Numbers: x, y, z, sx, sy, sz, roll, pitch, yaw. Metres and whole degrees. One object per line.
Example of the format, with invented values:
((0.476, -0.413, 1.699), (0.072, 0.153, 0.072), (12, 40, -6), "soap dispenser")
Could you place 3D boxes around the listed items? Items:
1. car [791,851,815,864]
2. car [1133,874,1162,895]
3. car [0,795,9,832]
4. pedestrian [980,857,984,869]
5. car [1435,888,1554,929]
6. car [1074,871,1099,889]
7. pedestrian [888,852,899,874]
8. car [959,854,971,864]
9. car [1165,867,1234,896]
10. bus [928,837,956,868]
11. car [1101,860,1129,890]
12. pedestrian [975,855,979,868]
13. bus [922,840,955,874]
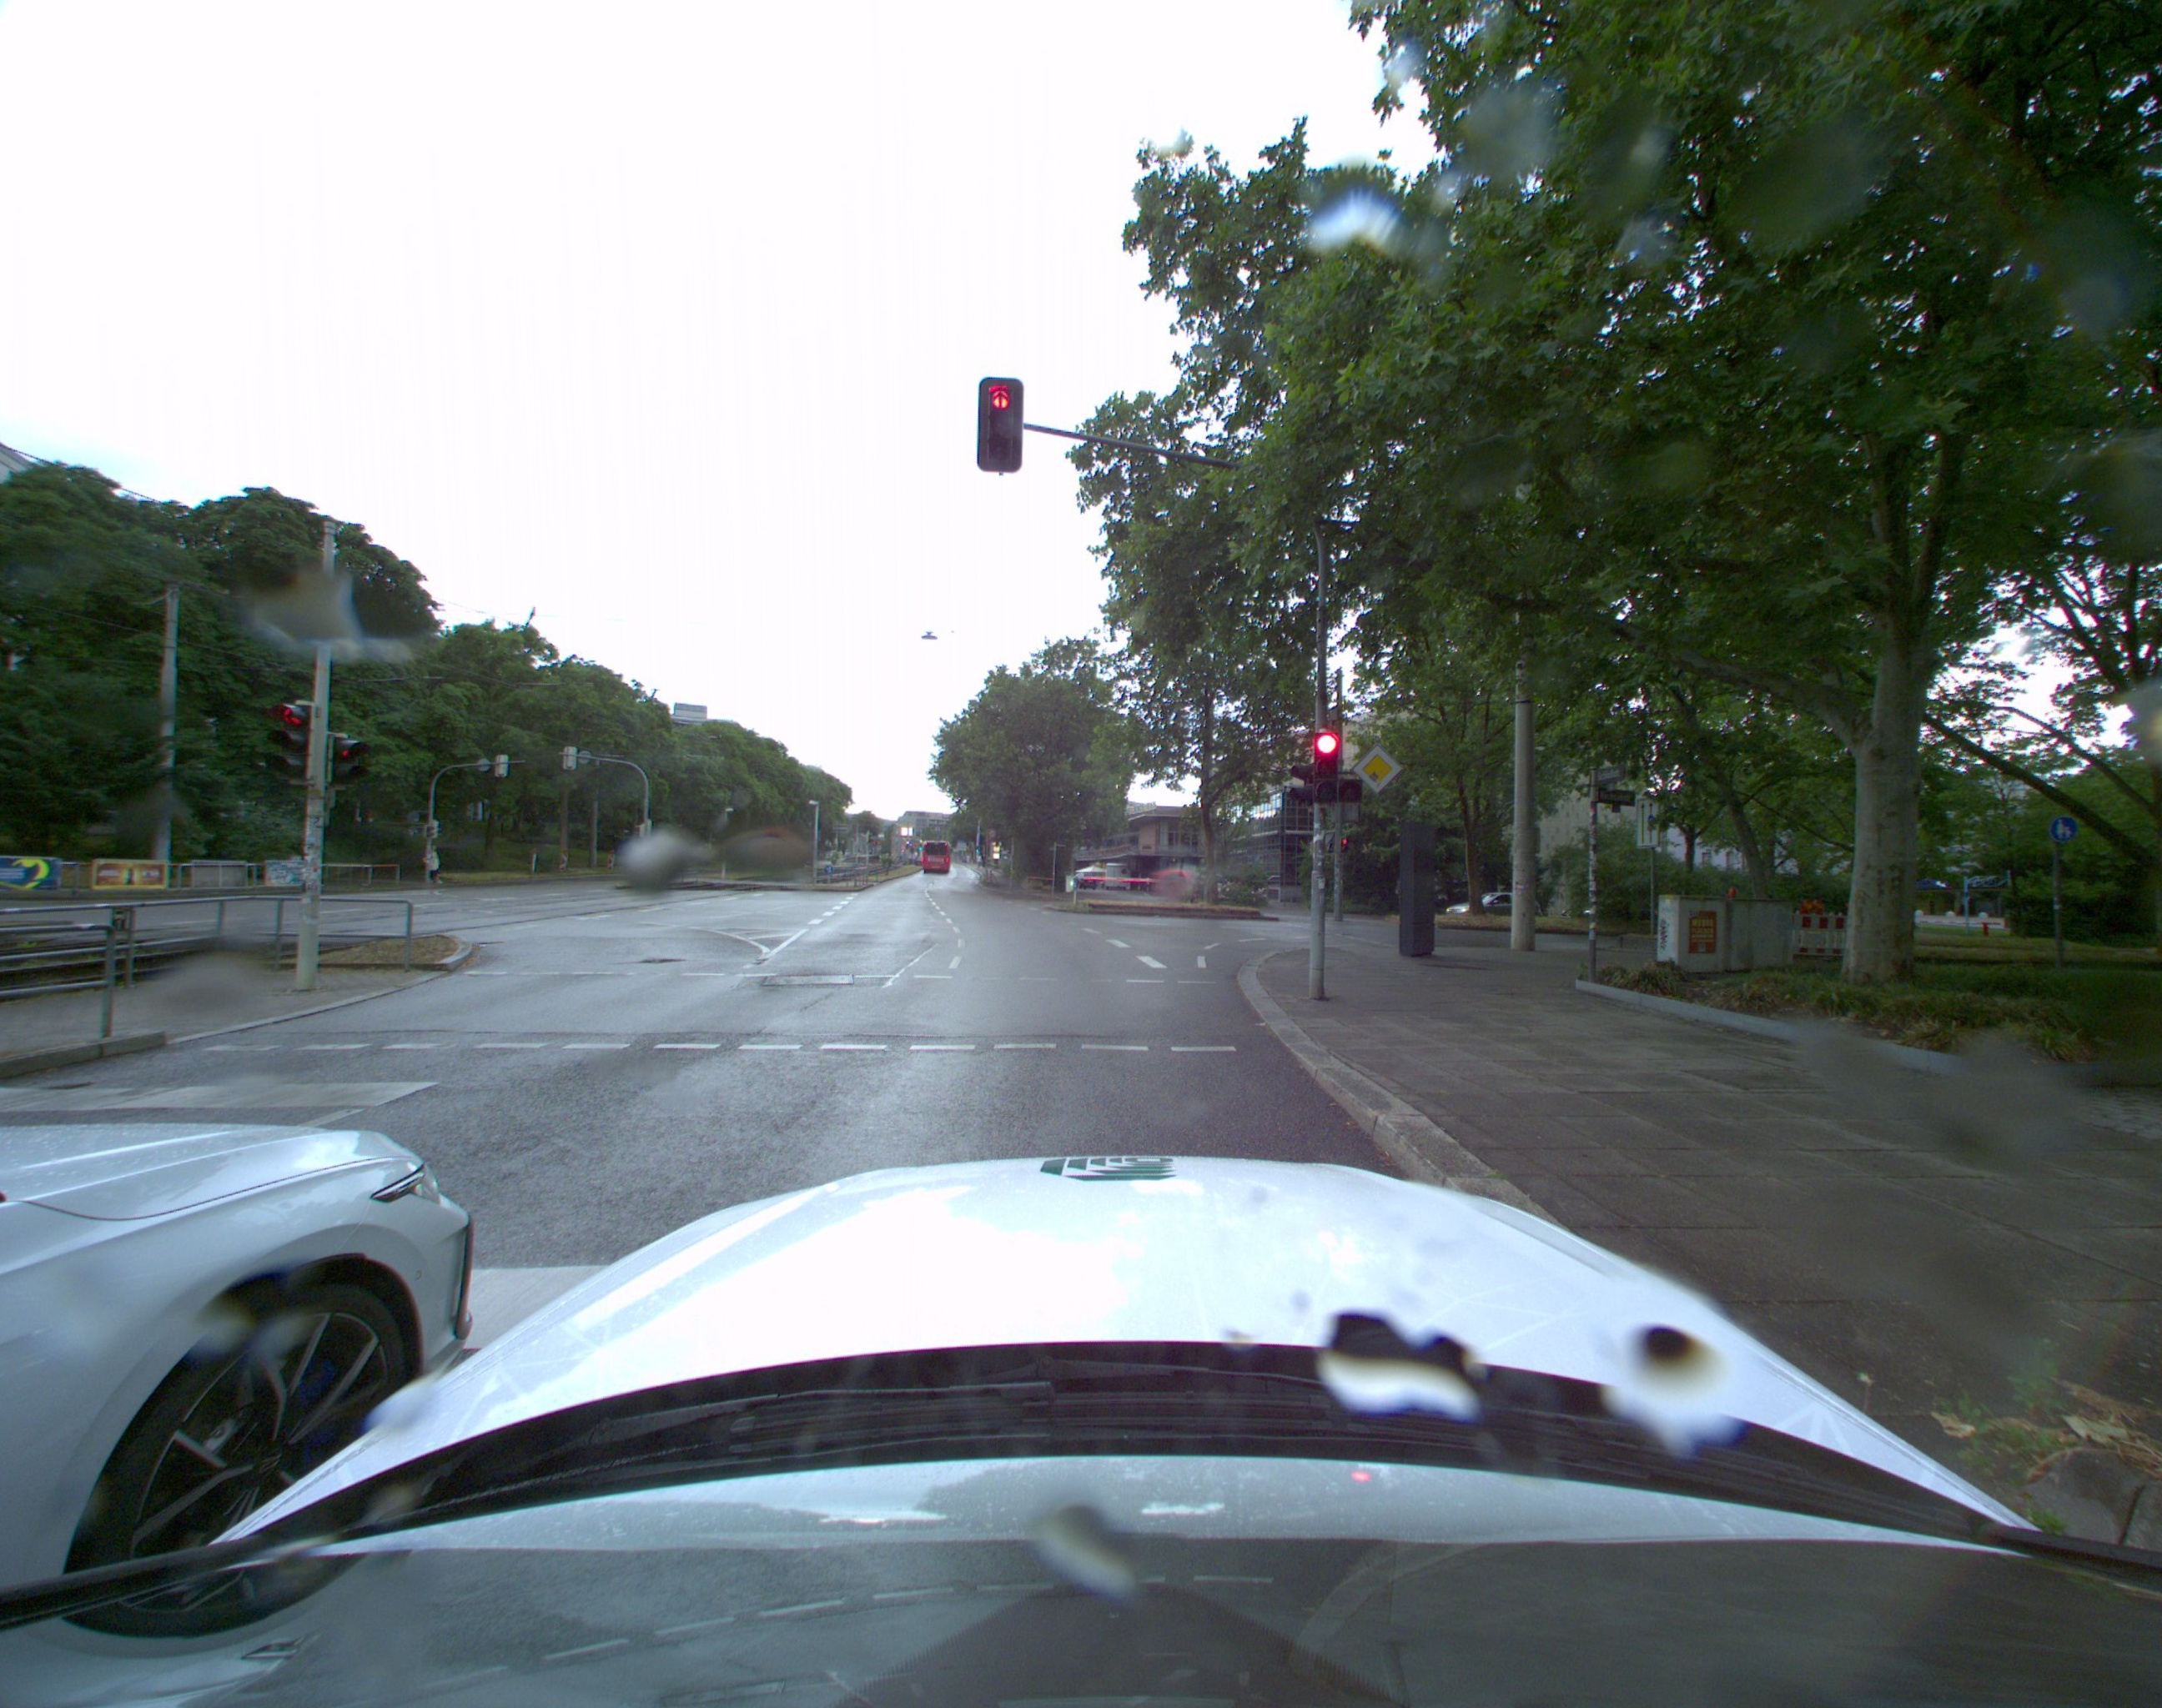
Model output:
((-33.600, 0.428, 98.546), (1.992, 1.519, 3.989), (2, 0, -8), "car")
((6.893, 3.131, 84.415), (1.994, 2.014, 3.985), (3, -2, -10), "car")
((-52.935, -2.018, 37.901), (2.005, 1.794, 4.172), (4, -2, -28), "car")
((-12.660, 1.088, 104.062), (0.370, 1.525, 0.344), (2, -1, 1), "pedestrian")
((17.316, 2.262, 34.217), (3.980, 1.442, 1.997), (3, -2, -5), "car")
((0.520, 2.774, 88.062), (1.993, 1.860, 3.987), (3, -2, -9), "car")
((-14.440, 0.662, 62.693), (0.739, 1.640, 0.867), (3, -2, -14), "pedestrian")
((-21.583, 0.948, 151.521), (1.995, 1.684, 3.984), (3, -2, -12), "car")
((9.042, 2.073, 61.985), (4.762, 1.943, 1.986), (3, -2, -20), "car")
((-15.240, -0.038, 89.770), (2.548, 3.111, 9.429), (3, -1, -8), "bus")
((3.767, 2.365, 90.615), (2.539, 3.134, 5.024), (3, -2, -3), "car")
((-13.234, 0.987, 103.934), (0.370, 1.708, 0.644), (2, -1, 2), "pedestrian")
((-14.305, 0.364, 82.225), (2.653, 3.111, 9.160), (3, -1, -7), "bus")
